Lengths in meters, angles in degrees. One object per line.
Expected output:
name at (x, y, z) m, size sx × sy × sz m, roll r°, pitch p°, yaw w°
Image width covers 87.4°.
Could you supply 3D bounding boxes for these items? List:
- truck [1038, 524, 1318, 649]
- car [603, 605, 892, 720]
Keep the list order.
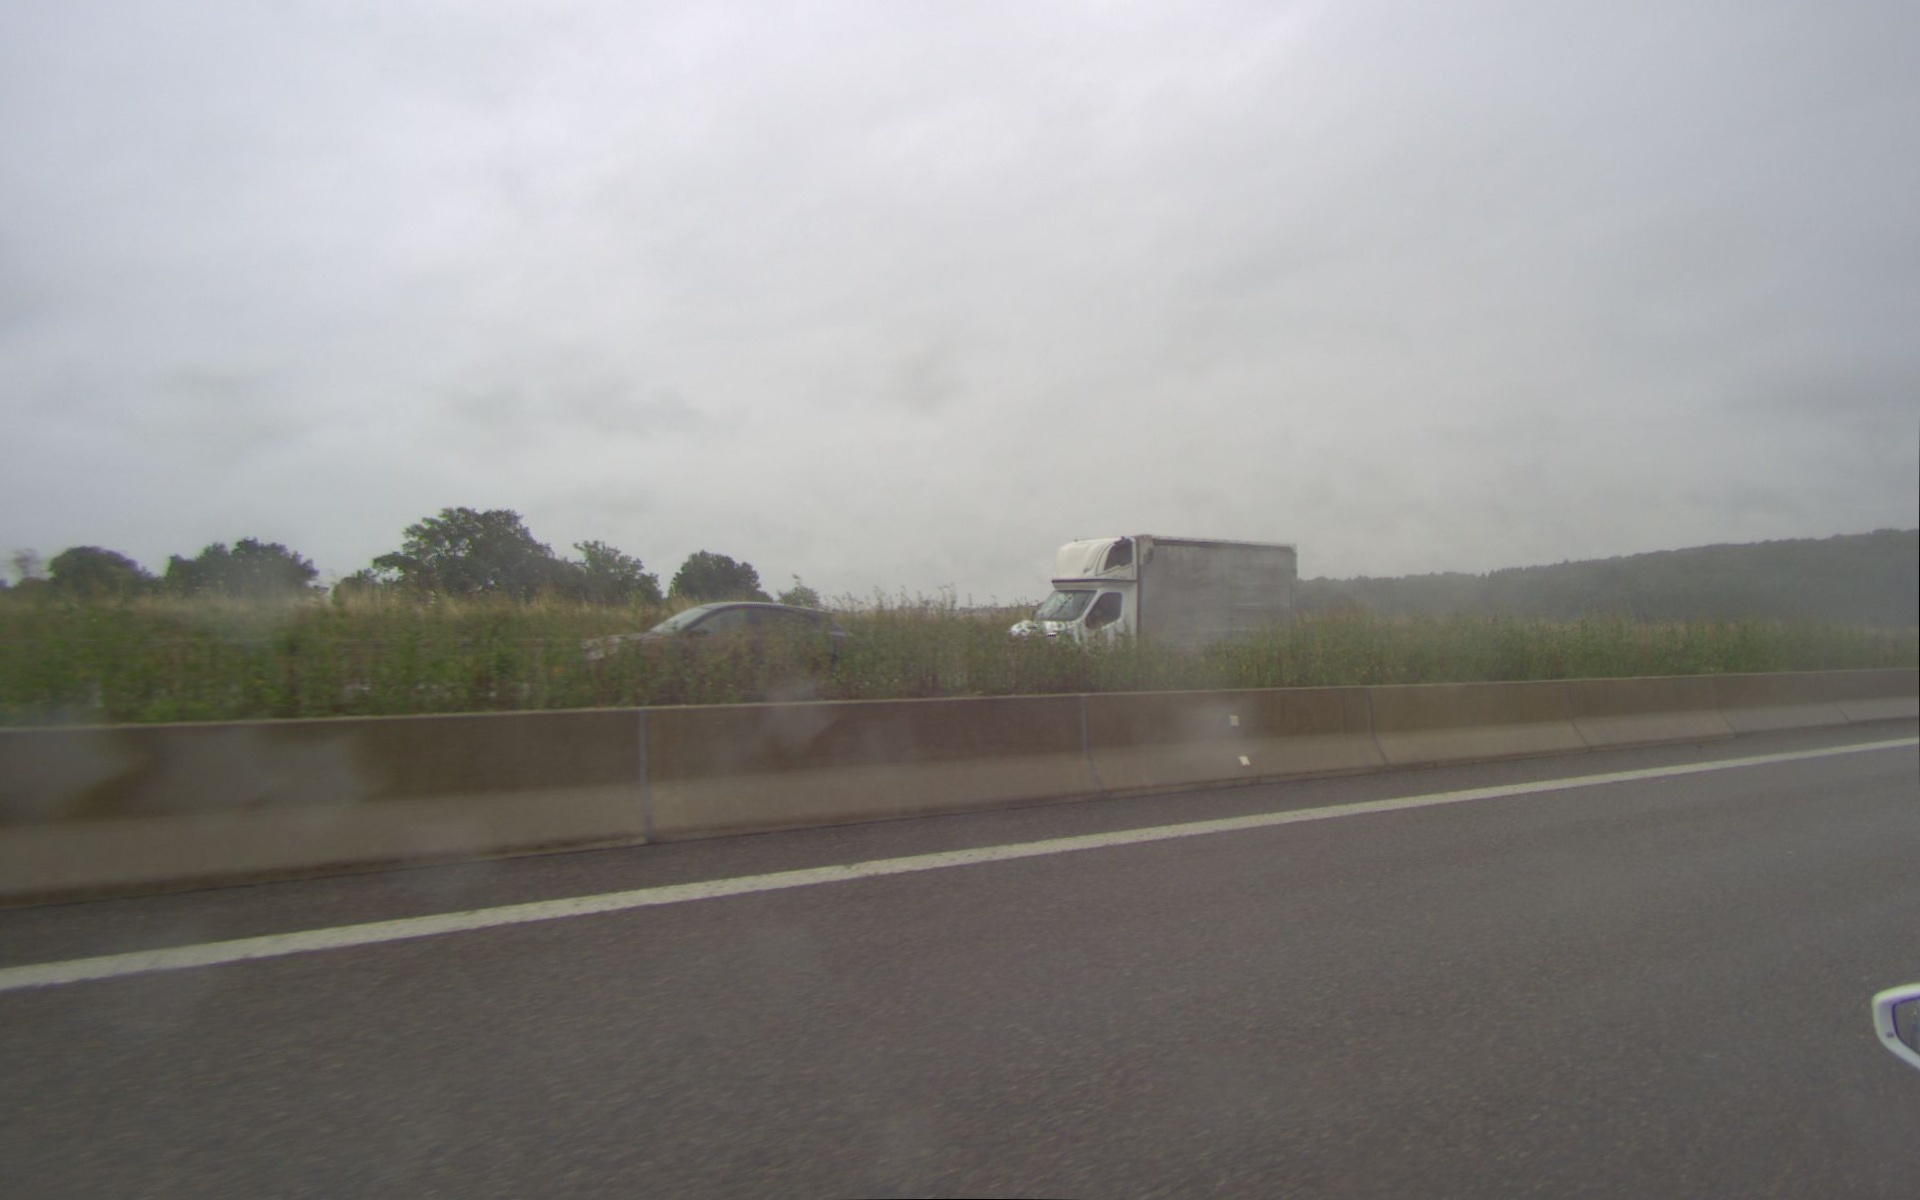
truck at (5.248, -0.205, 23.705) m, size 6.714 × 2.479 × 2.163 m, roll 3°, pitch -1°, yaw -30°
car at (-3.262, 0.897, 15.527) m, size 3.953 × 1.550 × 1.984 m, roll 1°, pitch 0°, yaw -30°
